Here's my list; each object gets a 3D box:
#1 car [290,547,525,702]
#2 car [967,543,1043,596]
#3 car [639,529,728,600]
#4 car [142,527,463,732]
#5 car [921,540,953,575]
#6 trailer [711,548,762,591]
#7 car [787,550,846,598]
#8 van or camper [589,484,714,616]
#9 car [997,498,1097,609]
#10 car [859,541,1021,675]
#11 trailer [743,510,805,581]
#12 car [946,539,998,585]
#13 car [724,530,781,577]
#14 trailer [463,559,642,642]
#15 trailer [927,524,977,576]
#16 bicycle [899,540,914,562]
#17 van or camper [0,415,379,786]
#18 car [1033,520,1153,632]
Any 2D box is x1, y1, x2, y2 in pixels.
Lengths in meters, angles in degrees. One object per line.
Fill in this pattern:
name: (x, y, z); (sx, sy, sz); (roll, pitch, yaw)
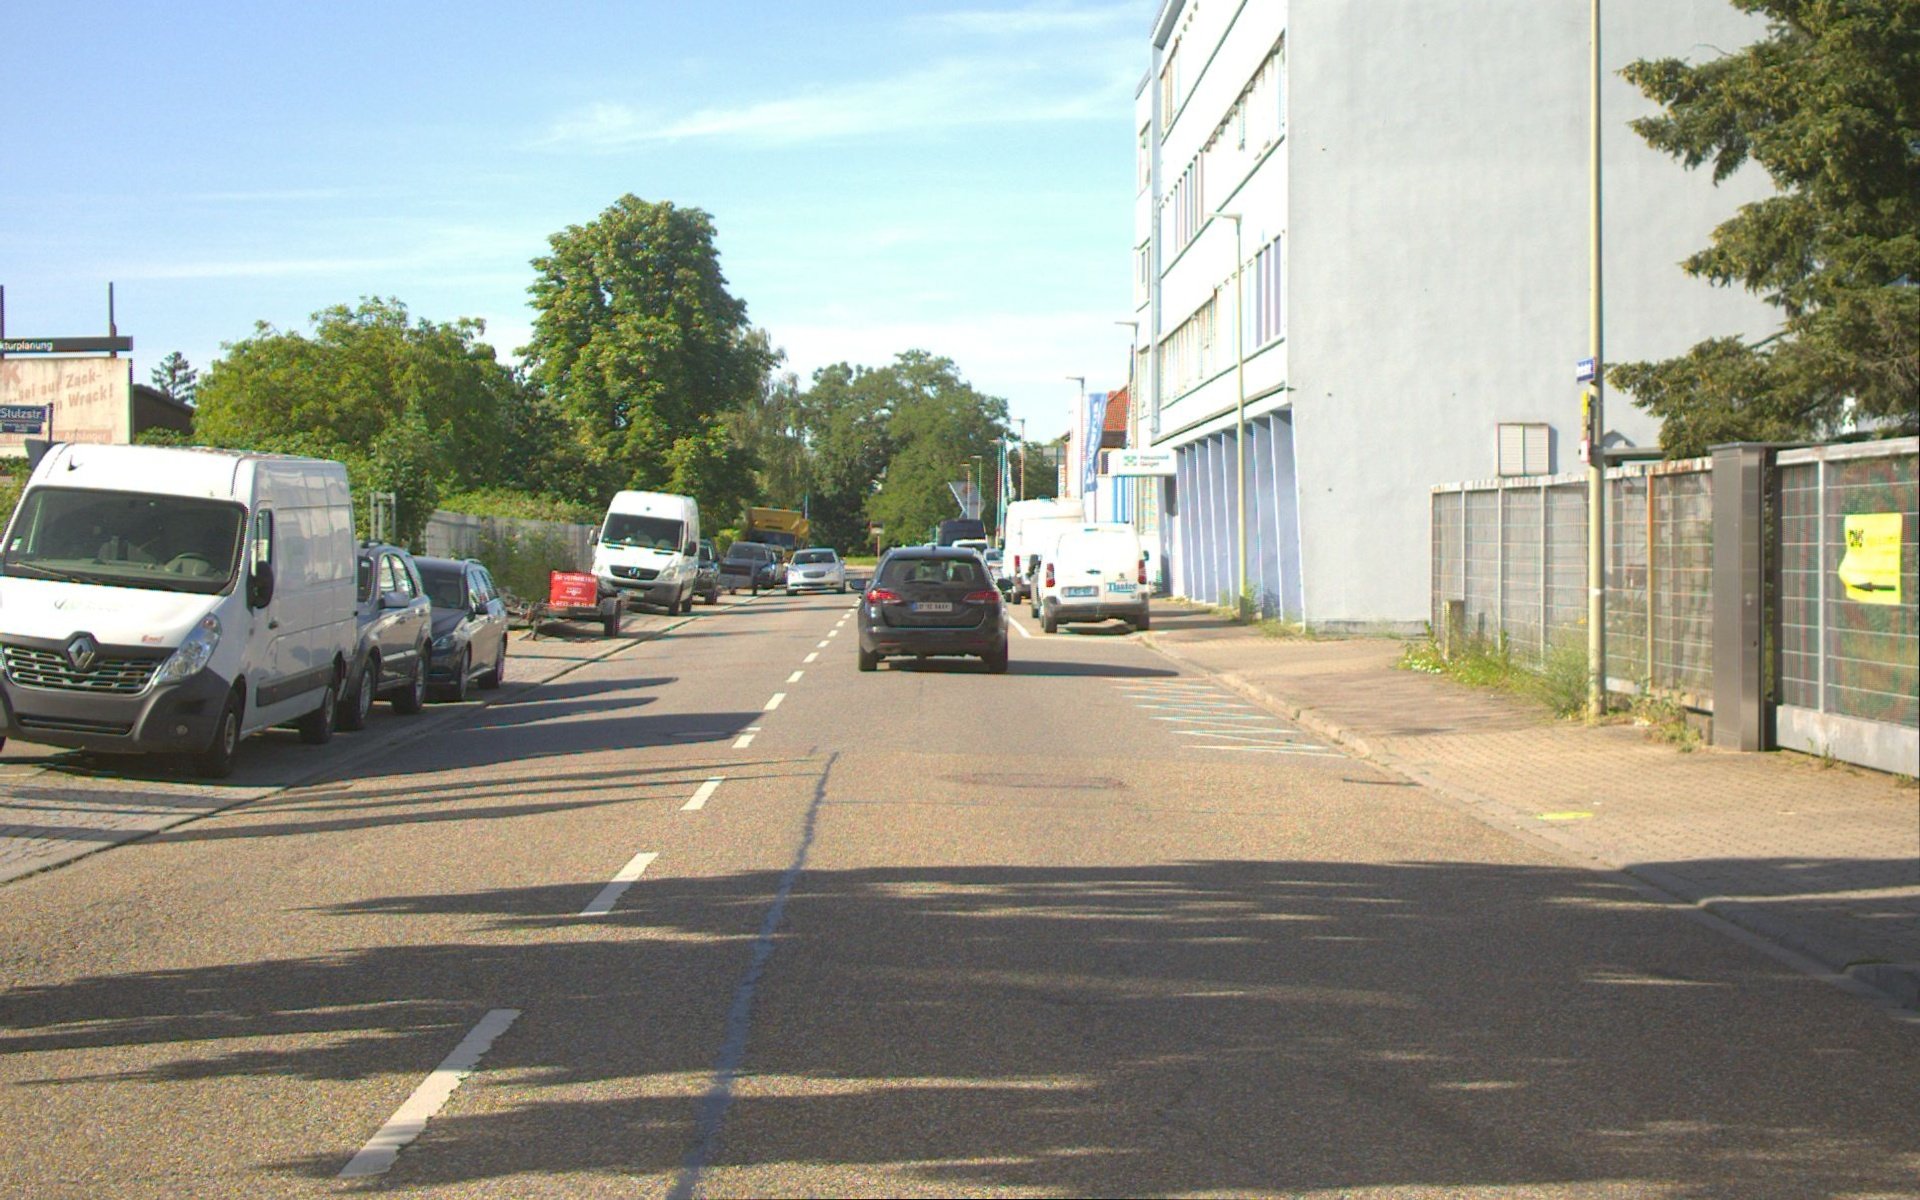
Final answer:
car: (-6.130, 0.219, 38.664); (1.799, 1.505, 5.003); (4, 1, -1)
car: (1.247, -0.865, 96.916); (1.894, 1.400, 5.124); (2, 0, -2)
car: (-7.185, -0.947, 89.860); (2.030, 1.688, 5.107); (4, 1, -3)
car: (-6.278, 0.226, 33.380); (1.994, 1.732, 4.574); (4, 1, 2)
car: (-1.413, -2.539, 207.754); (1.874, 2.007, 5.160); (2, 0, -1)
trailer: (-7.202, -0.987, 111.093); (1.476, 1.349, 3.079); (2, 1, -1)
car: (-4.475, -0.831, 107.749); (1.747, 1.442, 4.361); (0, 1, -1)
van or camper: (-6.817, -1.124, 76.600); (1.966, 2.676, 5.948); (5, 1, 0)
car: (2.113, -1.202, 85.288); (1.993, 2.589, 6.052); (-2, 2, -2)
car: (-0.242, 0.055, 41.482); (1.847, 1.525, 4.000); (0, 1, 0)
trailer: (-9.179, -2.689, 170.143); (2.991, 3.431, 8.162); (0, 1, -2)
car: (0.467, -1.559, 141.259); (1.885, 1.791, 5.104); (2, 0, -2)
car: (-7.790, -1.750, 129.487); (1.791, 1.725, 4.802); (0, 1, 1)
trailer: (-6.789, -0.030, 57.976); (2.376, 1.076, 6.246); (4, 2, -2)
trailer: (-0.415, -2.582, 177.710); (2.459, 2.663, 5.702); (0, 1, -1)
bicycle: (-3.244, -2.968, 208.584); (0.803, 1.263, 2.259); (2, 0, -4)
van or camper: (-6.291, -0.071, 27.822); (2.070, 2.540, 6.404); (4, 1, -1)
car: (2.258, -0.433, 59.520); (1.889, 1.826, 5.090); (0, 1, 0)
